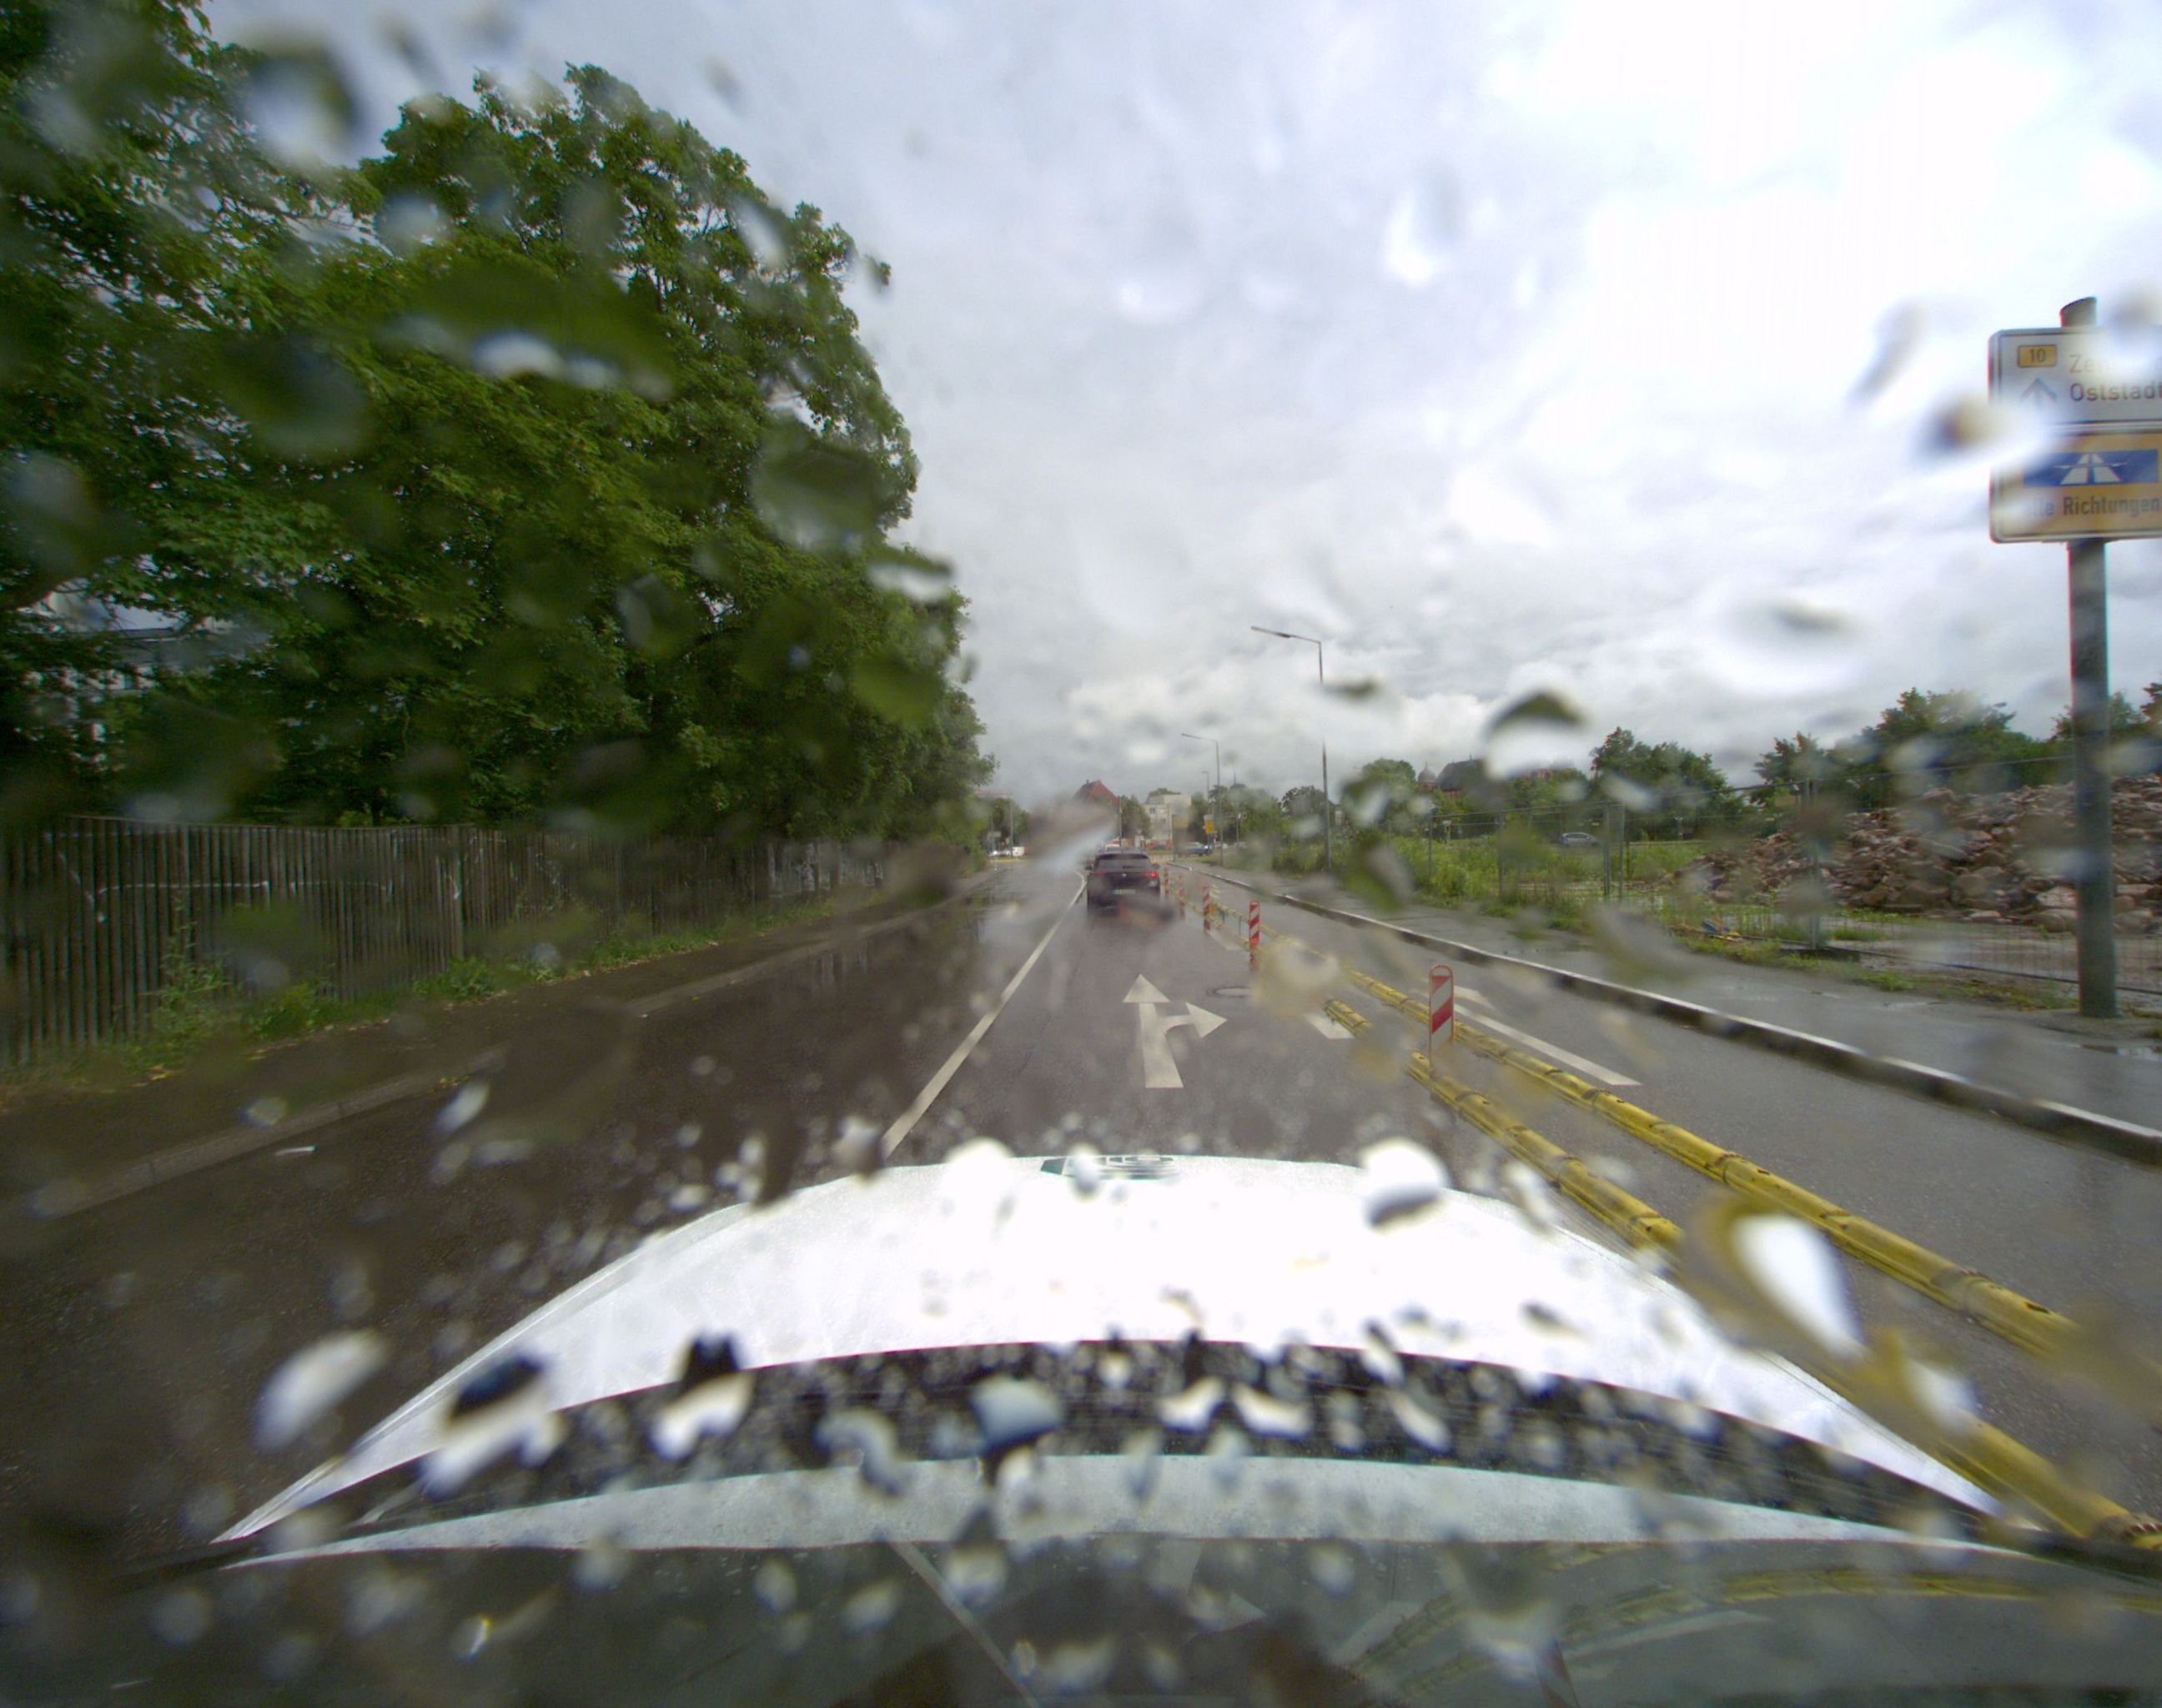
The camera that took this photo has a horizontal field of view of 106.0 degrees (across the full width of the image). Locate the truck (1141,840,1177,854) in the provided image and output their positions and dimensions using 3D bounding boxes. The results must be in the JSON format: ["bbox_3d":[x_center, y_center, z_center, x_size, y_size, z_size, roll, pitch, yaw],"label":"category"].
[{"bbox_3d":[15.199,-1.289,158.746,6.649,2.442,2.445,-2,0,17],"label":"truck"}]

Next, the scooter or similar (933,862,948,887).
[{"bbox_3d":[-6.791,0.959,39.372,0.561,1.162,1.206,-2,0,-5],"label":"scooter or similar"}]

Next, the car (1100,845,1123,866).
[{"bbox_3d":[2.764,0.134,74.748,1.858,1.809,4.402,-2,0,-1],"label":"car"}]

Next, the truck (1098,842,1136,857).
[{"bbox_3d":[6.705,-0.863,151.555,7.035,2.650,2.332,-2,0,3],"label":"truck"}]

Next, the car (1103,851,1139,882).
[{"bbox_3d":[2.071,0.614,42.948,1.729,1.514,3.603,-2,0,0],"label":"car"}]

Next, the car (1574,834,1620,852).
[{"bbox_3d":[48.901,-1.027,77.208,3.483,1.546,1.641,-2,0,37],"label":"car"}]

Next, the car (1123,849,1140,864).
[{"bbox_3d":[5.544,0.266,89.309,1.659,1.644,3.955,-2,0,1],"label":"car"}]

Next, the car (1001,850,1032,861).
[{"bbox_3d":[-11.364,0.255,144.147,5.149,1.876,1.876,-2,0,-31],"label":"car"}]

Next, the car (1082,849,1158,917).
[{"bbox_3d":[0.924,0.679,21.000,1.703,1.574,3.681,-1,0,-1],"label":"car"}]
